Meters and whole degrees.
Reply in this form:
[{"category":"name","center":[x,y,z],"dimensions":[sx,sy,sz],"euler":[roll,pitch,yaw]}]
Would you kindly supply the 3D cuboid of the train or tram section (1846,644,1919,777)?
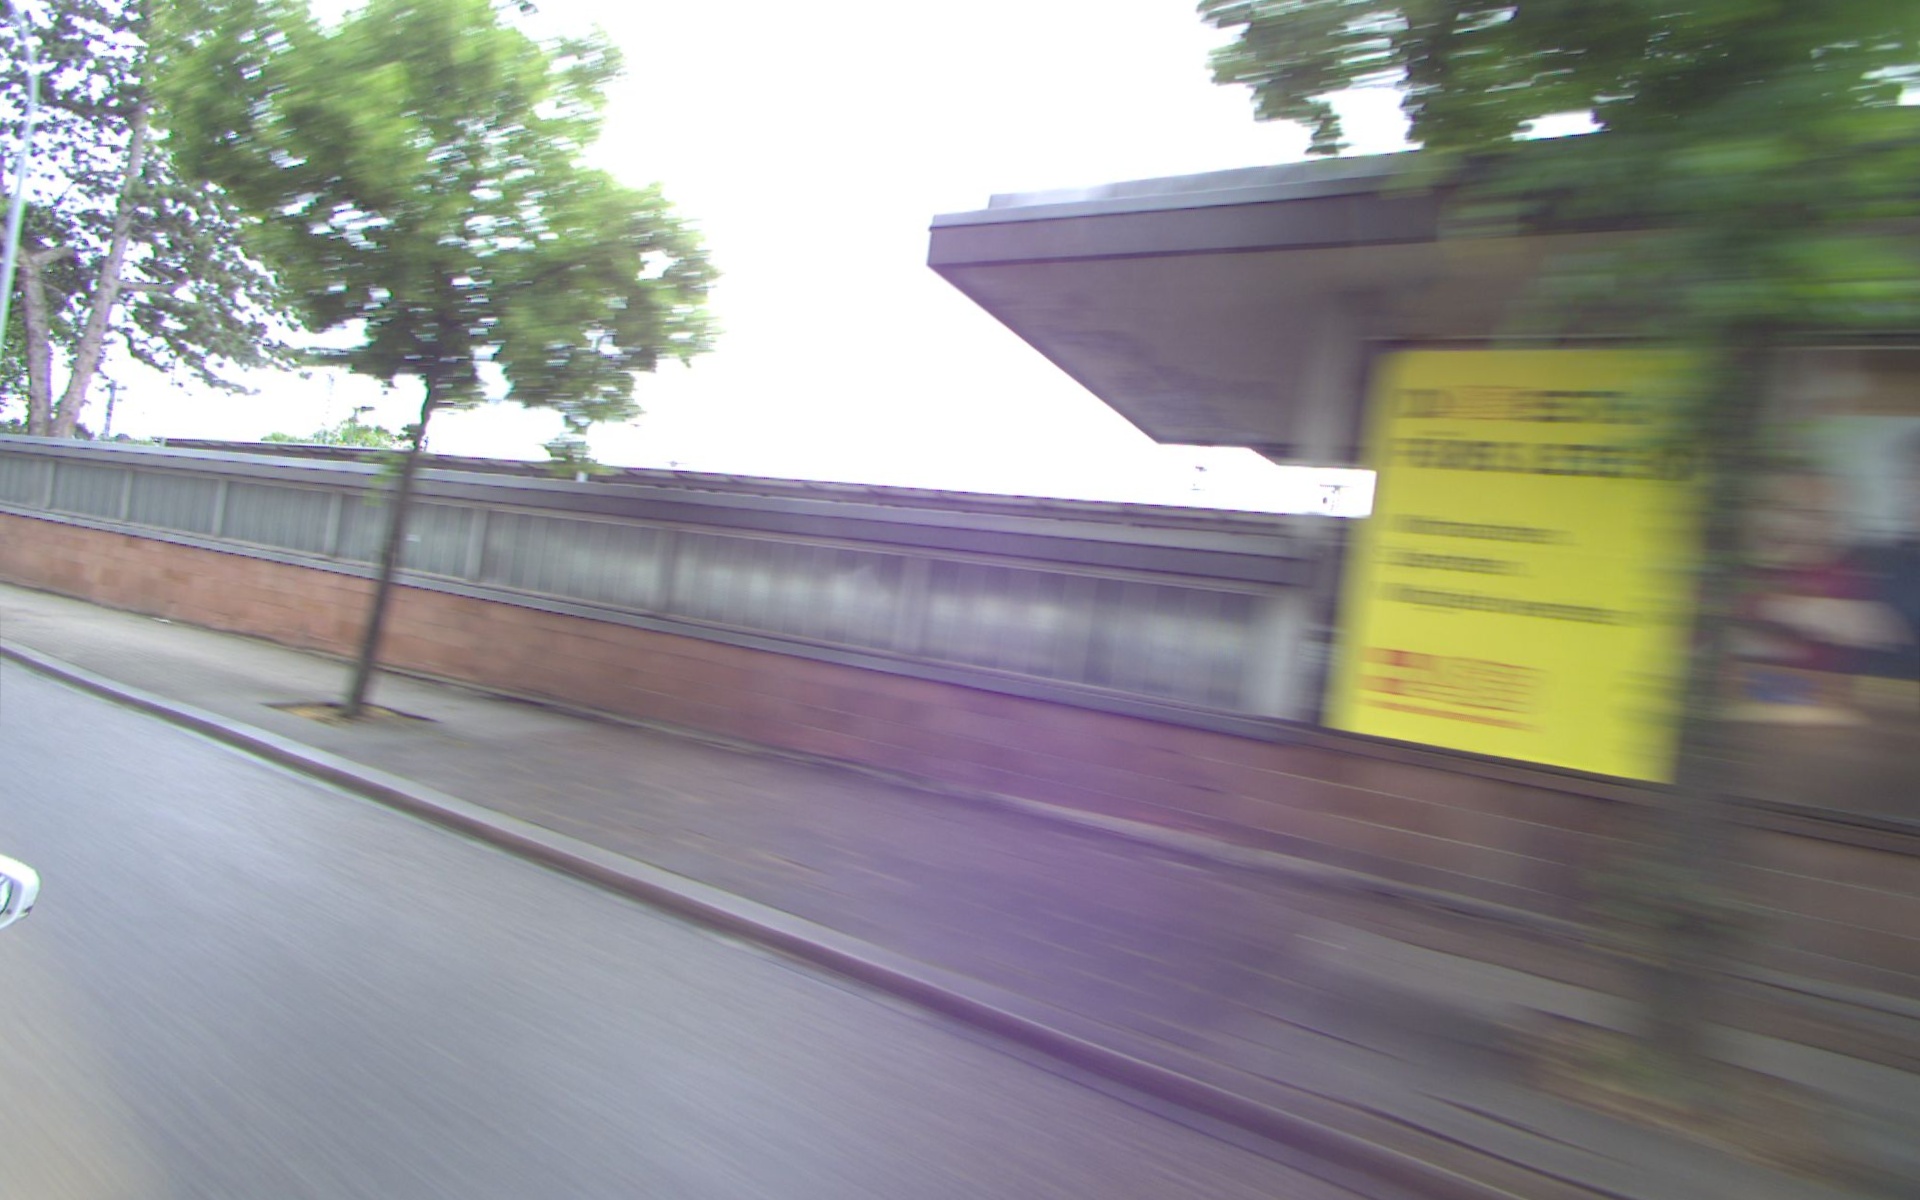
[{"category":"train or tram section","center":[28.628,3.377,25.186],"dimensions":[8.979,3.323,2.658],"euler":[7,1,30]}]
